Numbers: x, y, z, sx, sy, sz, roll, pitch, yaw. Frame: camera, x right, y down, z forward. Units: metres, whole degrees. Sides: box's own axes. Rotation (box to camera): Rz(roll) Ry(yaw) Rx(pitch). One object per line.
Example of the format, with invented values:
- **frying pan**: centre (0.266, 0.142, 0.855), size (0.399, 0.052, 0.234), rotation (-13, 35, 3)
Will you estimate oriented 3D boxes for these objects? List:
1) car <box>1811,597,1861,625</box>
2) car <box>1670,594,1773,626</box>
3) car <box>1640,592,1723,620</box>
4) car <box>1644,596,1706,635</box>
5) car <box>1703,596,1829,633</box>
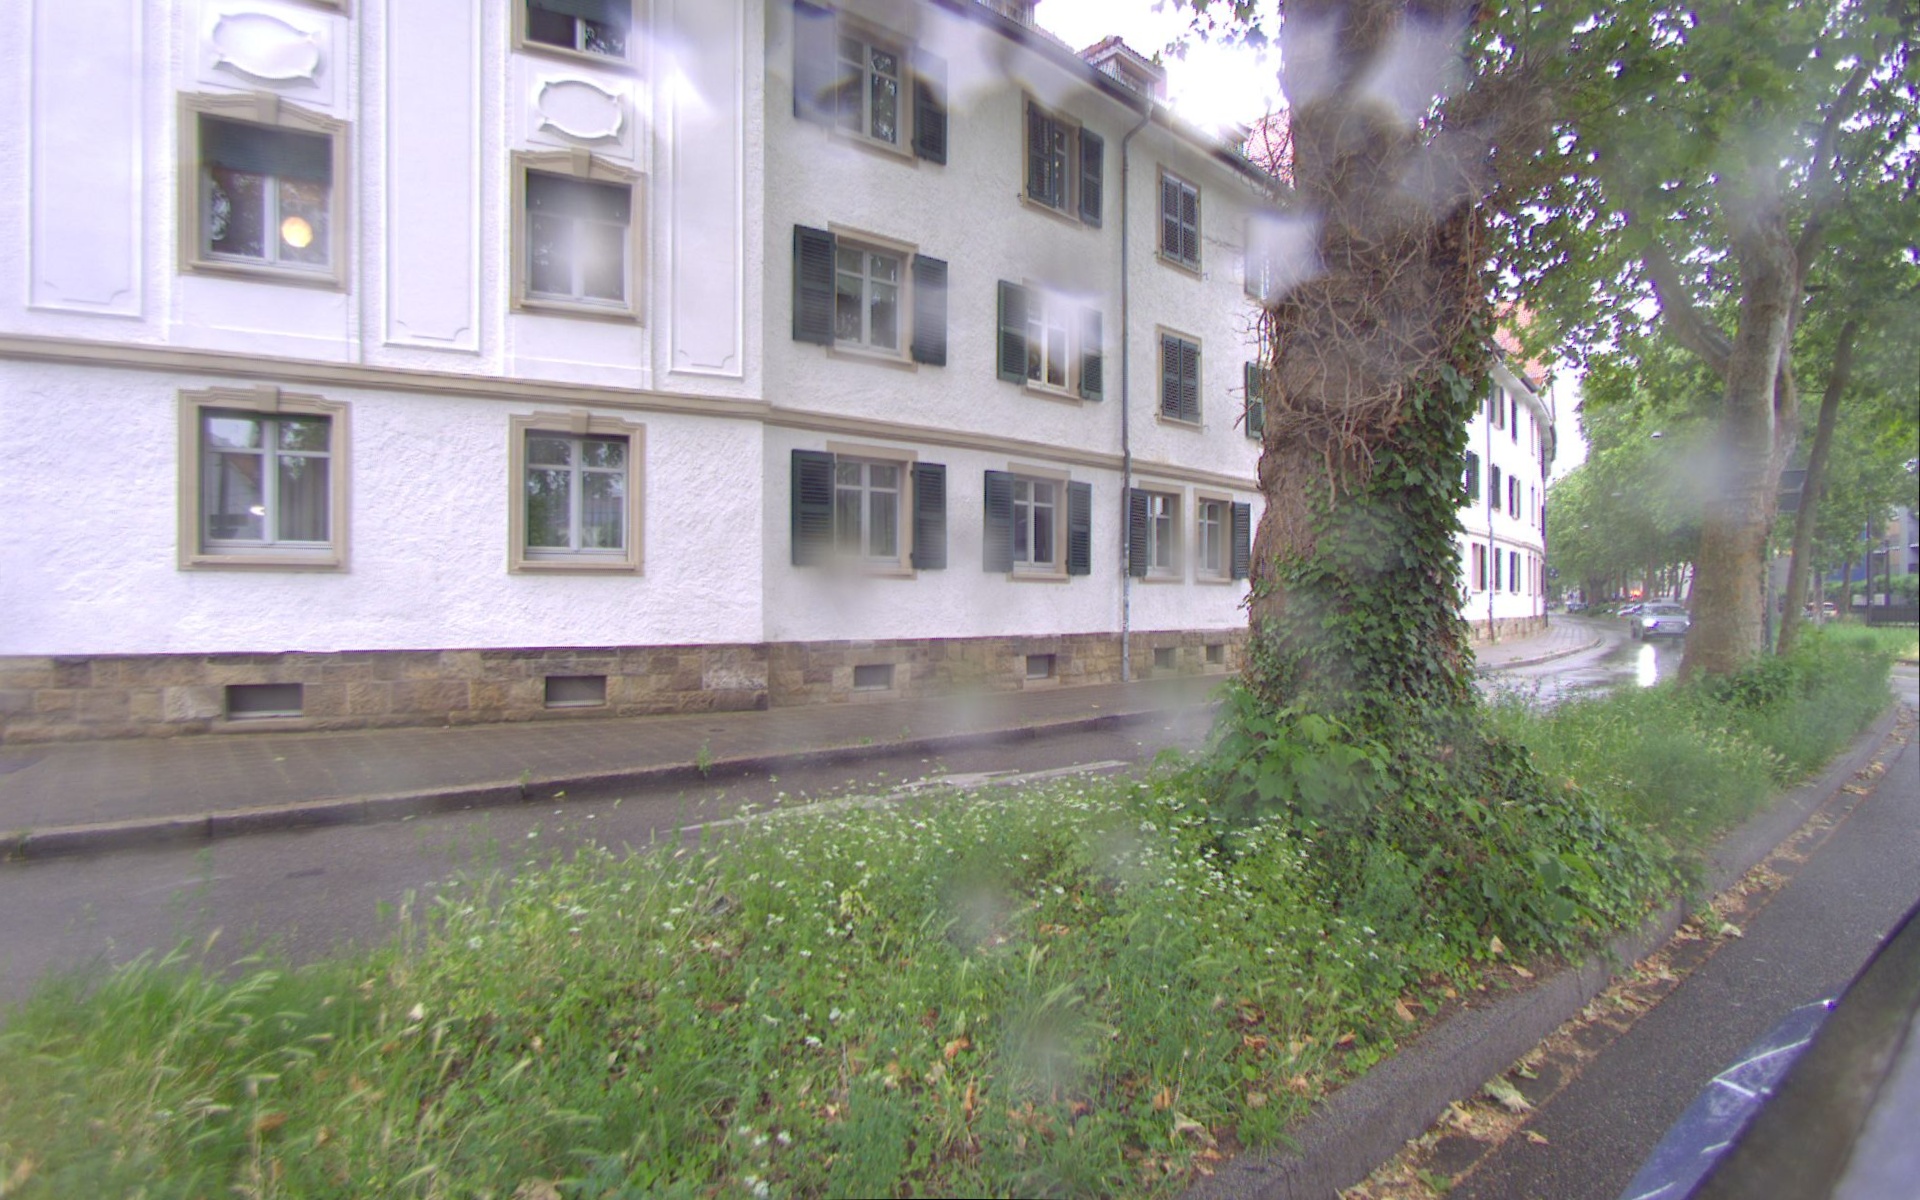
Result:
- **car**: centre (57.734, 0.710, 66.737), size (1.677, 1.745, 3.656), rotation (2, 1, 28)
- **car**: centre (43.510, 0.546, 57.907), size (1.715, 1.632, 4.335), rotation (1, 1, -35)
- **car**: centre (56.728, 0.437, 79.663), size (1.960, 2.039, 4.899), rotation (1, 1, -30)
- **car**: centre (30.857, 0.626, 43.773), size (1.837, 1.616, 4.170), rotation (0, 0, 31)
- **car**: centre (37.779, 0.641, 47.545), size (1.892, 1.560, 4.236), rotation (1, 1, -30)
